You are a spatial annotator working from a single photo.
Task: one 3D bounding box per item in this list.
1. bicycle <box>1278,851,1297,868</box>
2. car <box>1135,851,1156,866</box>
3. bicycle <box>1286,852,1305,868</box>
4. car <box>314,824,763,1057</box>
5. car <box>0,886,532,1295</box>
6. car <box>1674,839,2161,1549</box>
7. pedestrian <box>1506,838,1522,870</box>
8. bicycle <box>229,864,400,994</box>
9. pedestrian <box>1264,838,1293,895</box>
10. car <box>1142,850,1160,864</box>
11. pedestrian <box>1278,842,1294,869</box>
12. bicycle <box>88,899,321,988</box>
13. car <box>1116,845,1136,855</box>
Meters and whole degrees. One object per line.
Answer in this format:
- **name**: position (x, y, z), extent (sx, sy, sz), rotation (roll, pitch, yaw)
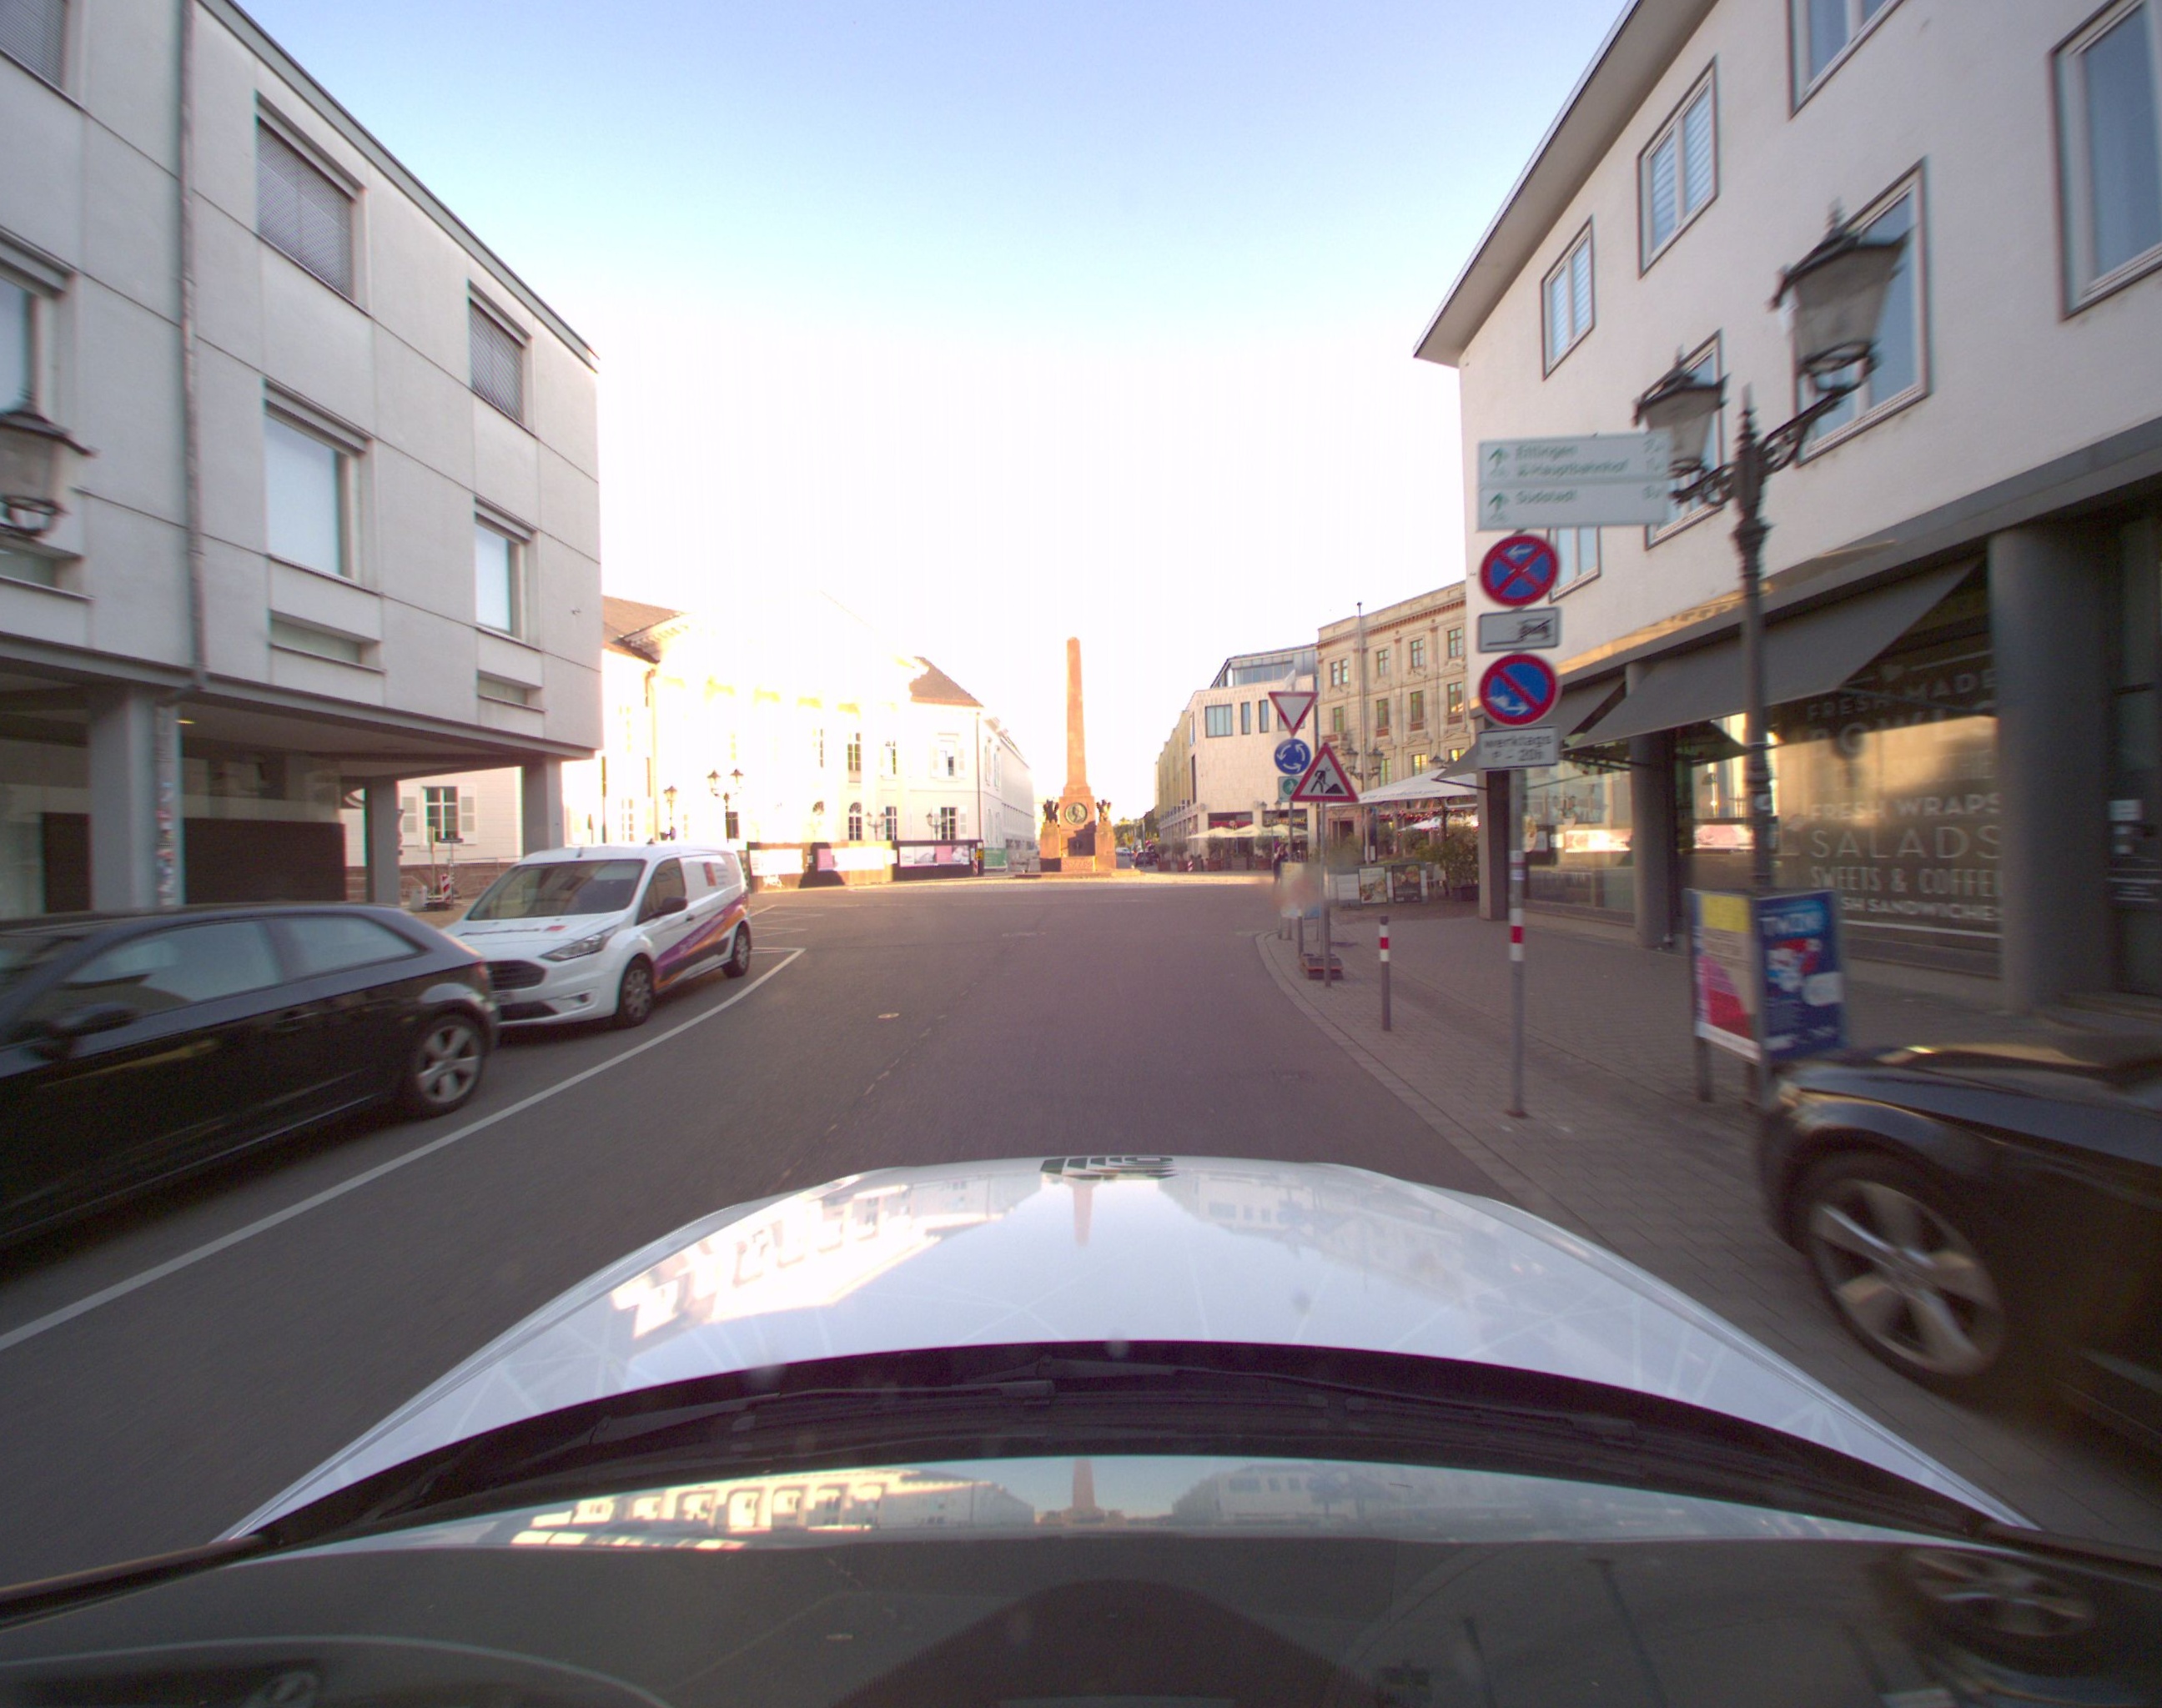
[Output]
- **bicycle**: position (13.779, 0.367, 54.319), extent (0.593, 1.031, 1.656), rotation (-2, 0, 37)
- **car**: position (6.474, 0.443, 82.266), extent (1.985, 1.464, 4.004), rotation (-2, 0, 3)
- **bicycle**: position (14.142, 0.384, 53.762), extent (0.613, 1.031, 1.656), rotation (-2, 0, 37)
- **car**: position (-5.261, 0.672, 8.929), extent (1.990, 1.816, 4.776), rotation (-1, 0, -5)
- **car**: position (-4.774, 0.936, 3.770), extent (1.672, 1.353, 4.104), rotation (-1, 0, 0)
- **car**: position (3.174, 0.715, 1.031), extent (1.796, 1.464, 4.115), rotation (-2, 0, -1)
- **pedestrian**: position (20.007, 0.007, 37.630), extent (0.523, 1.478, 0.565), rotation (-2, 0, 21)
- **bicycle**: position (-10.089, 0.930, 10.817), extent (0.575, 1.540, 1.732), rotation (-1, 0, 1)
- **pedestrian**: position (5.929, 0.368, 24.474), extent (0.687, 1.647, 0.696), rotation (-2, 0, 1)
- **car**: position (7.774, 0.343, 90.708), extent (1.985, 1.464, 4.004), rotation (-2, 0, 3)
- **pedestrian**: position (13.320, 0.077, 52.867), extent (0.899, 1.728, 0.852), rotation (-2, 0, 10)
- **bicycle**: position (-12.221, 1.204, 11.513), extent (0.730, 0.983, 2.336), rotation (-1, 0, 1)
- **car**: position (10.150, -0.854, 184.131), extent (3.948, 2.013, 2.013), rotation (-2, 0, 39)
